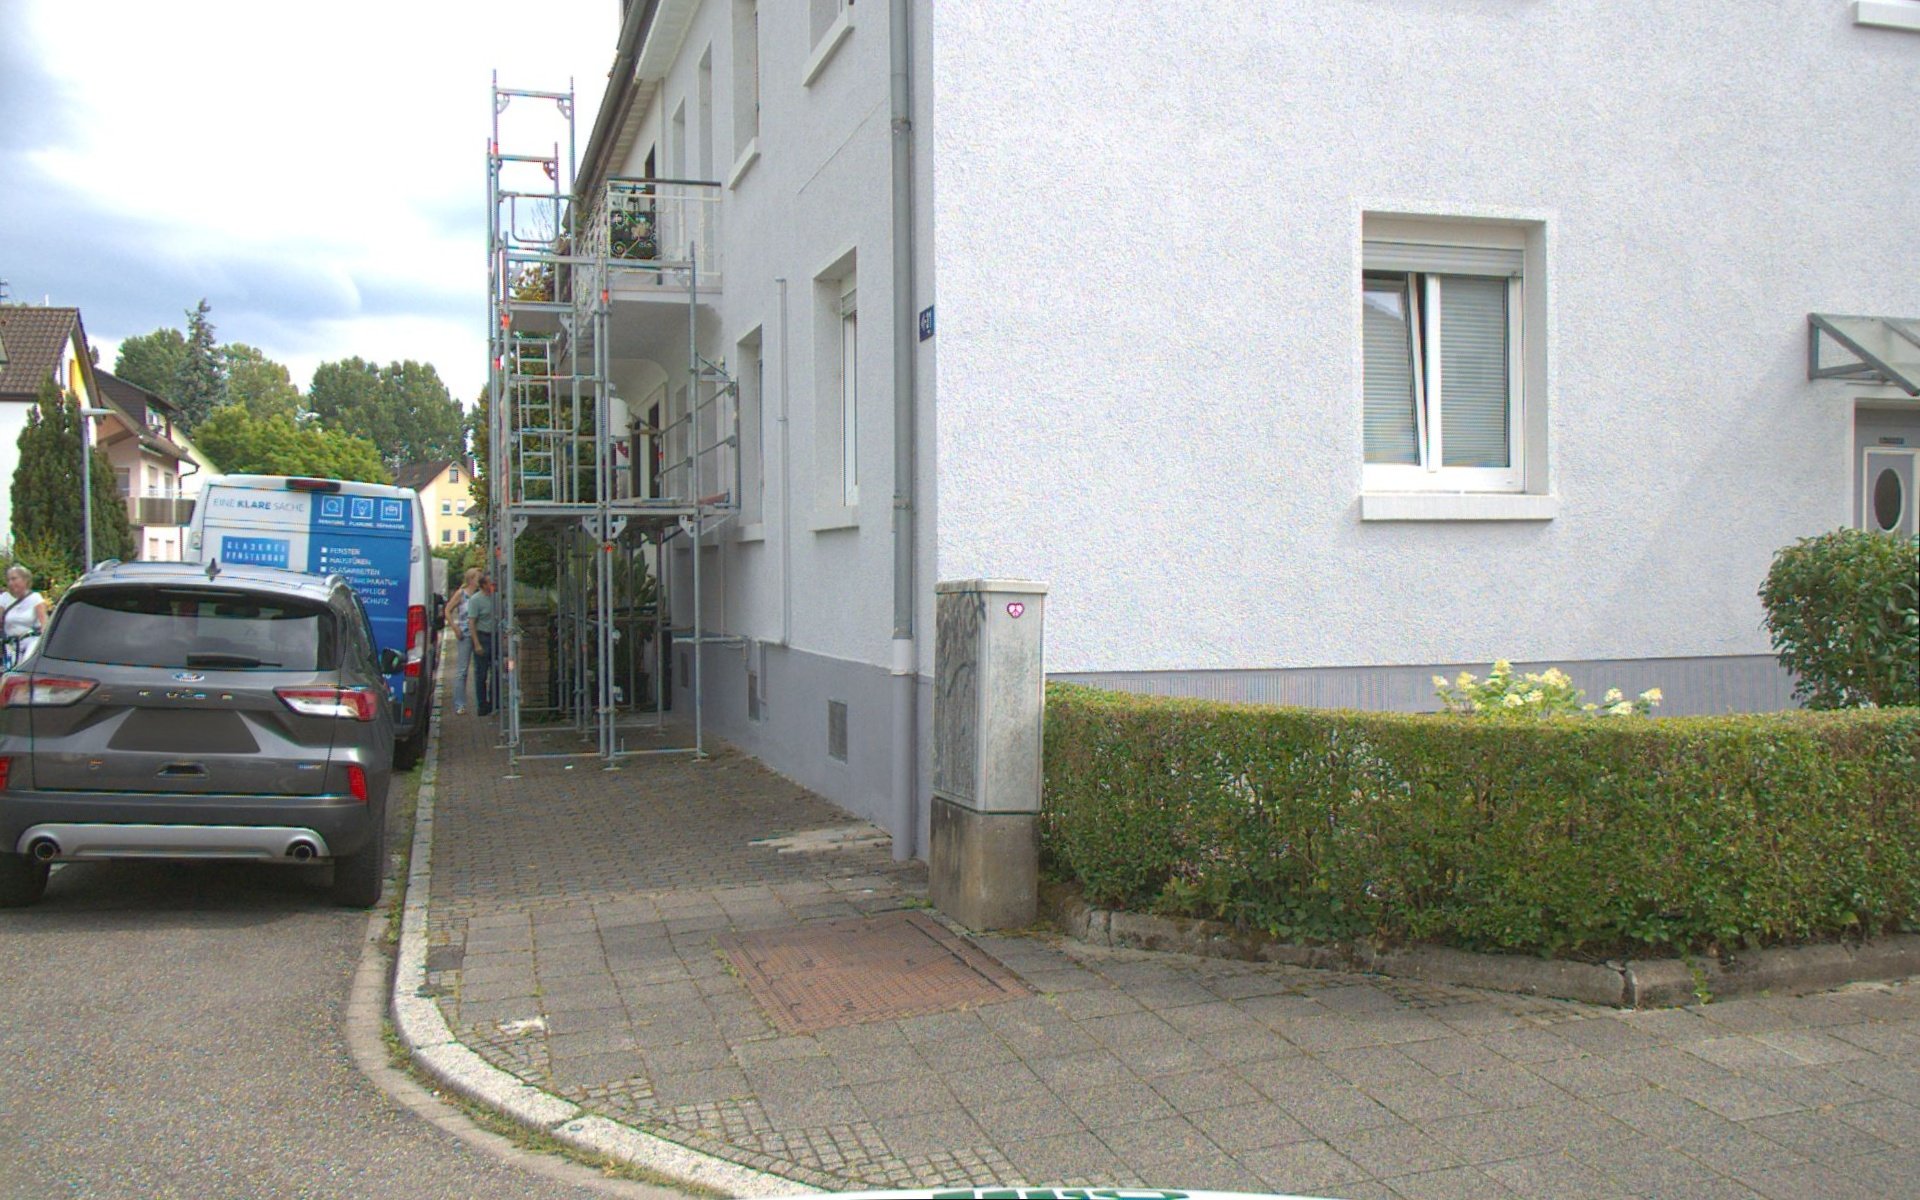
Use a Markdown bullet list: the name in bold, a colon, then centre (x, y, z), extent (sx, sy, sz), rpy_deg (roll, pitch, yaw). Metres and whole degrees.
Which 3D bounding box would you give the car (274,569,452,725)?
- **car**: centre (-7.820, 0.528, 21.765), extent (1.964, 1.803, 4.317), rpy_deg (-1, 1, -20)

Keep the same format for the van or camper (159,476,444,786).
- **van or camper**: centre (-6.182, 0.201, 16.116), extent (2.158, 2.502, 5.029), rpy_deg (-1, 1, -18)

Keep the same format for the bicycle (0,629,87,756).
- **bicycle**: centre (-9.486, 0.912, 16.817), extent (0.694, 1.172, 1.864), rpy_deg (-2, 1, -17)

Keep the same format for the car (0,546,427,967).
- **car**: centre (-4.090, 0.631, 9.266), extent (1.964, 1.757, 4.317), rpy_deg (-1, 1, -20)

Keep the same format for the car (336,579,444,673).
- **car**: centre (-11.821, 0.474, 34.275), extent (1.964, 1.780, 4.317), rpy_deg (-1, 1, -20)

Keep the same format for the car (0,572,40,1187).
- **car**: centre (-2.941, 0.694, 2.282), extent (1.784, 1.546, 4.031), rpy_deg (0, 0, -12)

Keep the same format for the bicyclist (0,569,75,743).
- **bicyclist**: centre (-9.469, 0.553, 16.719), extent (0.685, 1.695, 0.971), rpy_deg (-2, 0, -17)

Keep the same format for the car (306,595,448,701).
- **car**: centre (-9.347, 0.698, 26.563), extent (1.964, 1.481, 4.317), rpy_deg (-1, 1, -20)

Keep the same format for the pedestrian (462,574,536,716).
- **pedestrian**: centre (-5.486, 0.532, 19.692), extent (0.588, 1.658, 0.626), rpy_deg (-2, -1, 15)

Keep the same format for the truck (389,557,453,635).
- **truck**: centre (-19.663, -0.186, 60.230), extent (2.098, 2.703, 4.559), rpy_deg (-1, 1, -19)

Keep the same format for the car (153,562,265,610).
- **car**: centre (-29.814, -0.541, 65.788), extent (3.932, 1.803, 1.857), rpy_deg (-1, -1, -22)

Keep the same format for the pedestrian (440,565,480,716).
- **pedestrian**: centre (-6.025, 0.480, 19.932), extent (0.401, 1.793, 0.510), rpy_deg (-1, -1, -21)
